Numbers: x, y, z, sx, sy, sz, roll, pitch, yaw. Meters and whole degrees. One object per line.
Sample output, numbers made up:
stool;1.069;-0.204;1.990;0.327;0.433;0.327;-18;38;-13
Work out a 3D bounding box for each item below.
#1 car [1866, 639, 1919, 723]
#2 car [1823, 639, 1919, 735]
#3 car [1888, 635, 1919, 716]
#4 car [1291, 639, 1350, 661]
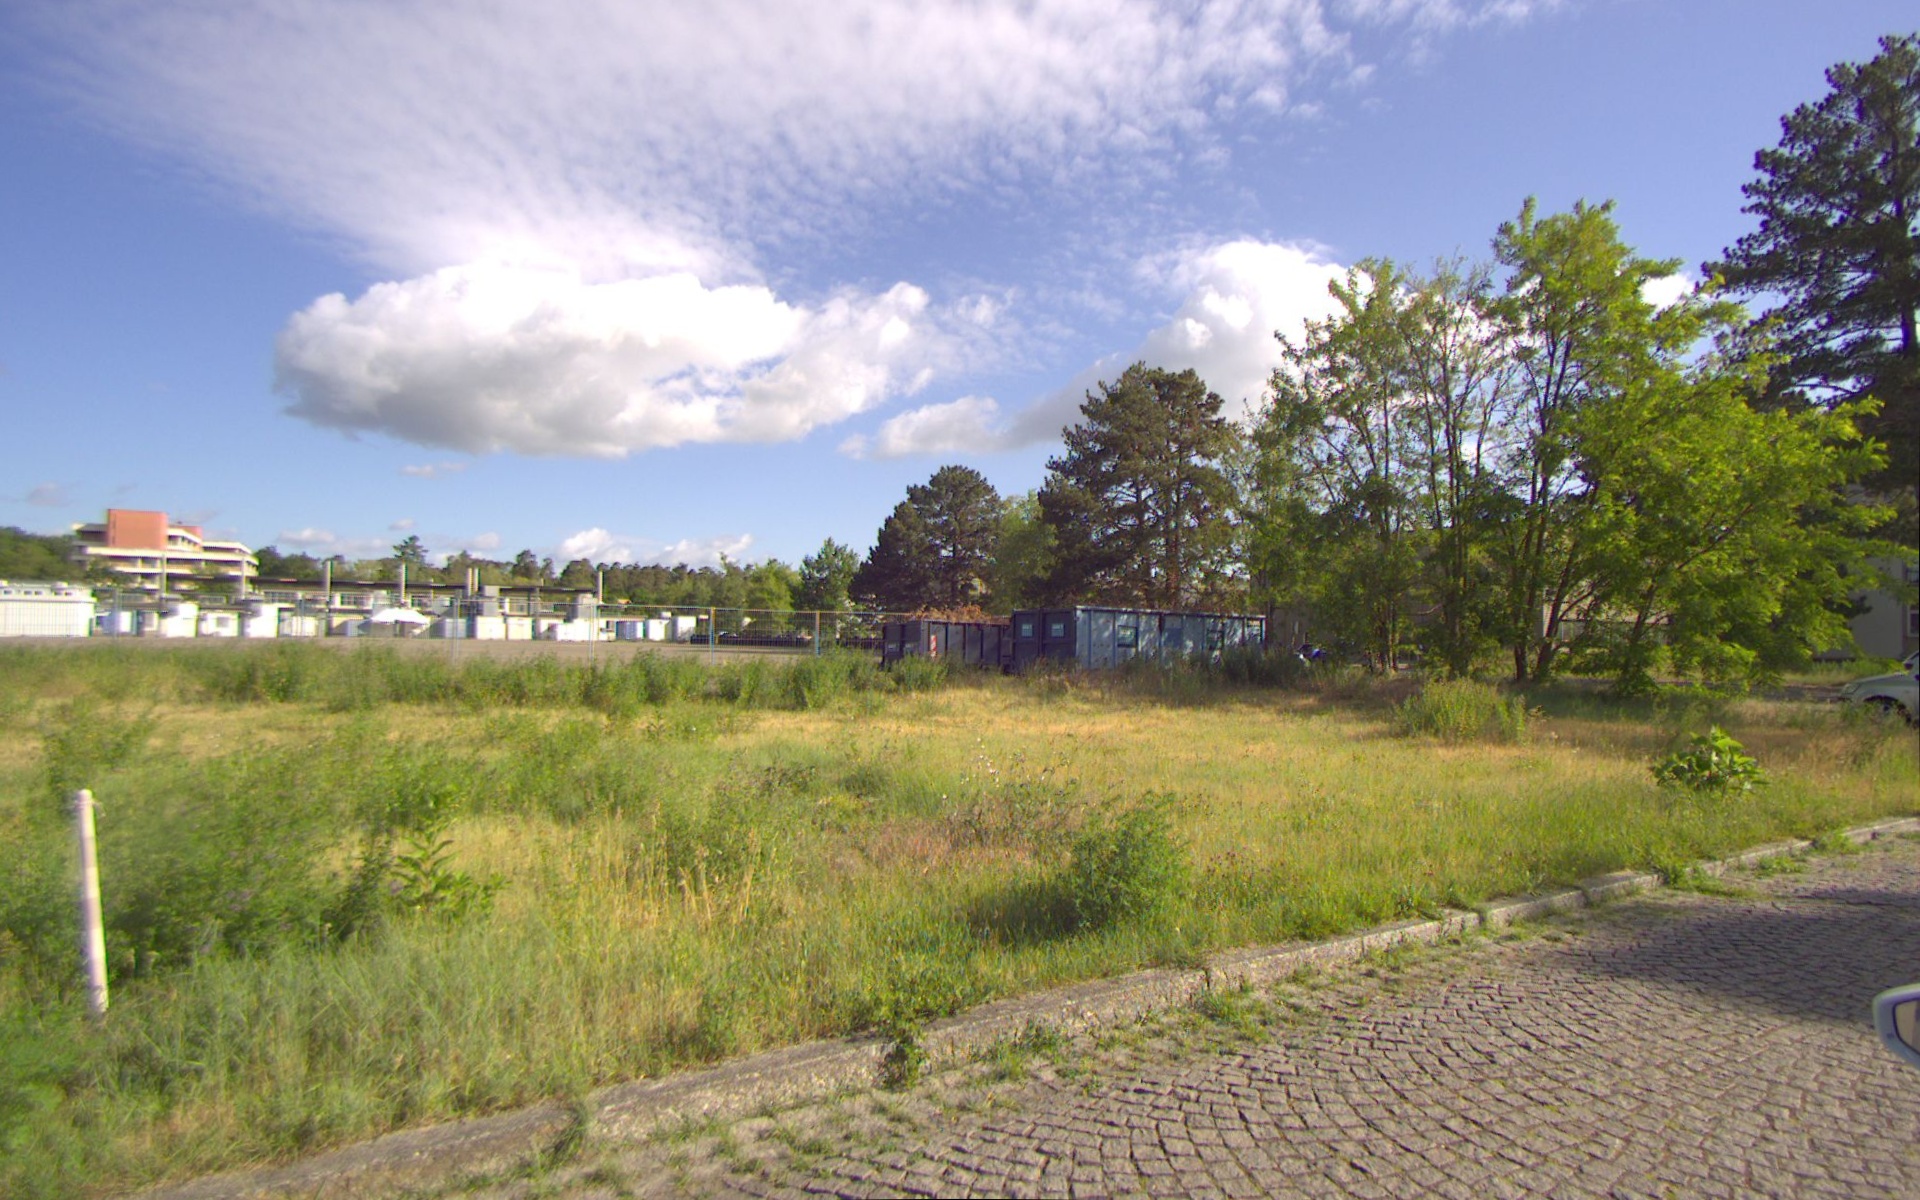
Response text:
car;18.937;1.545;17.788;1.784;1.500;3.963;2;0;-33
car;16.745;1.486;16.393;1.628;1.507;3.723;2;0;-33
car;21.144;1.595;19.650;1.865;1.614;4.055;2;0;-33
car;25.895;3.601;72.185;3.954;1.452;1.893;3;-2;-31
